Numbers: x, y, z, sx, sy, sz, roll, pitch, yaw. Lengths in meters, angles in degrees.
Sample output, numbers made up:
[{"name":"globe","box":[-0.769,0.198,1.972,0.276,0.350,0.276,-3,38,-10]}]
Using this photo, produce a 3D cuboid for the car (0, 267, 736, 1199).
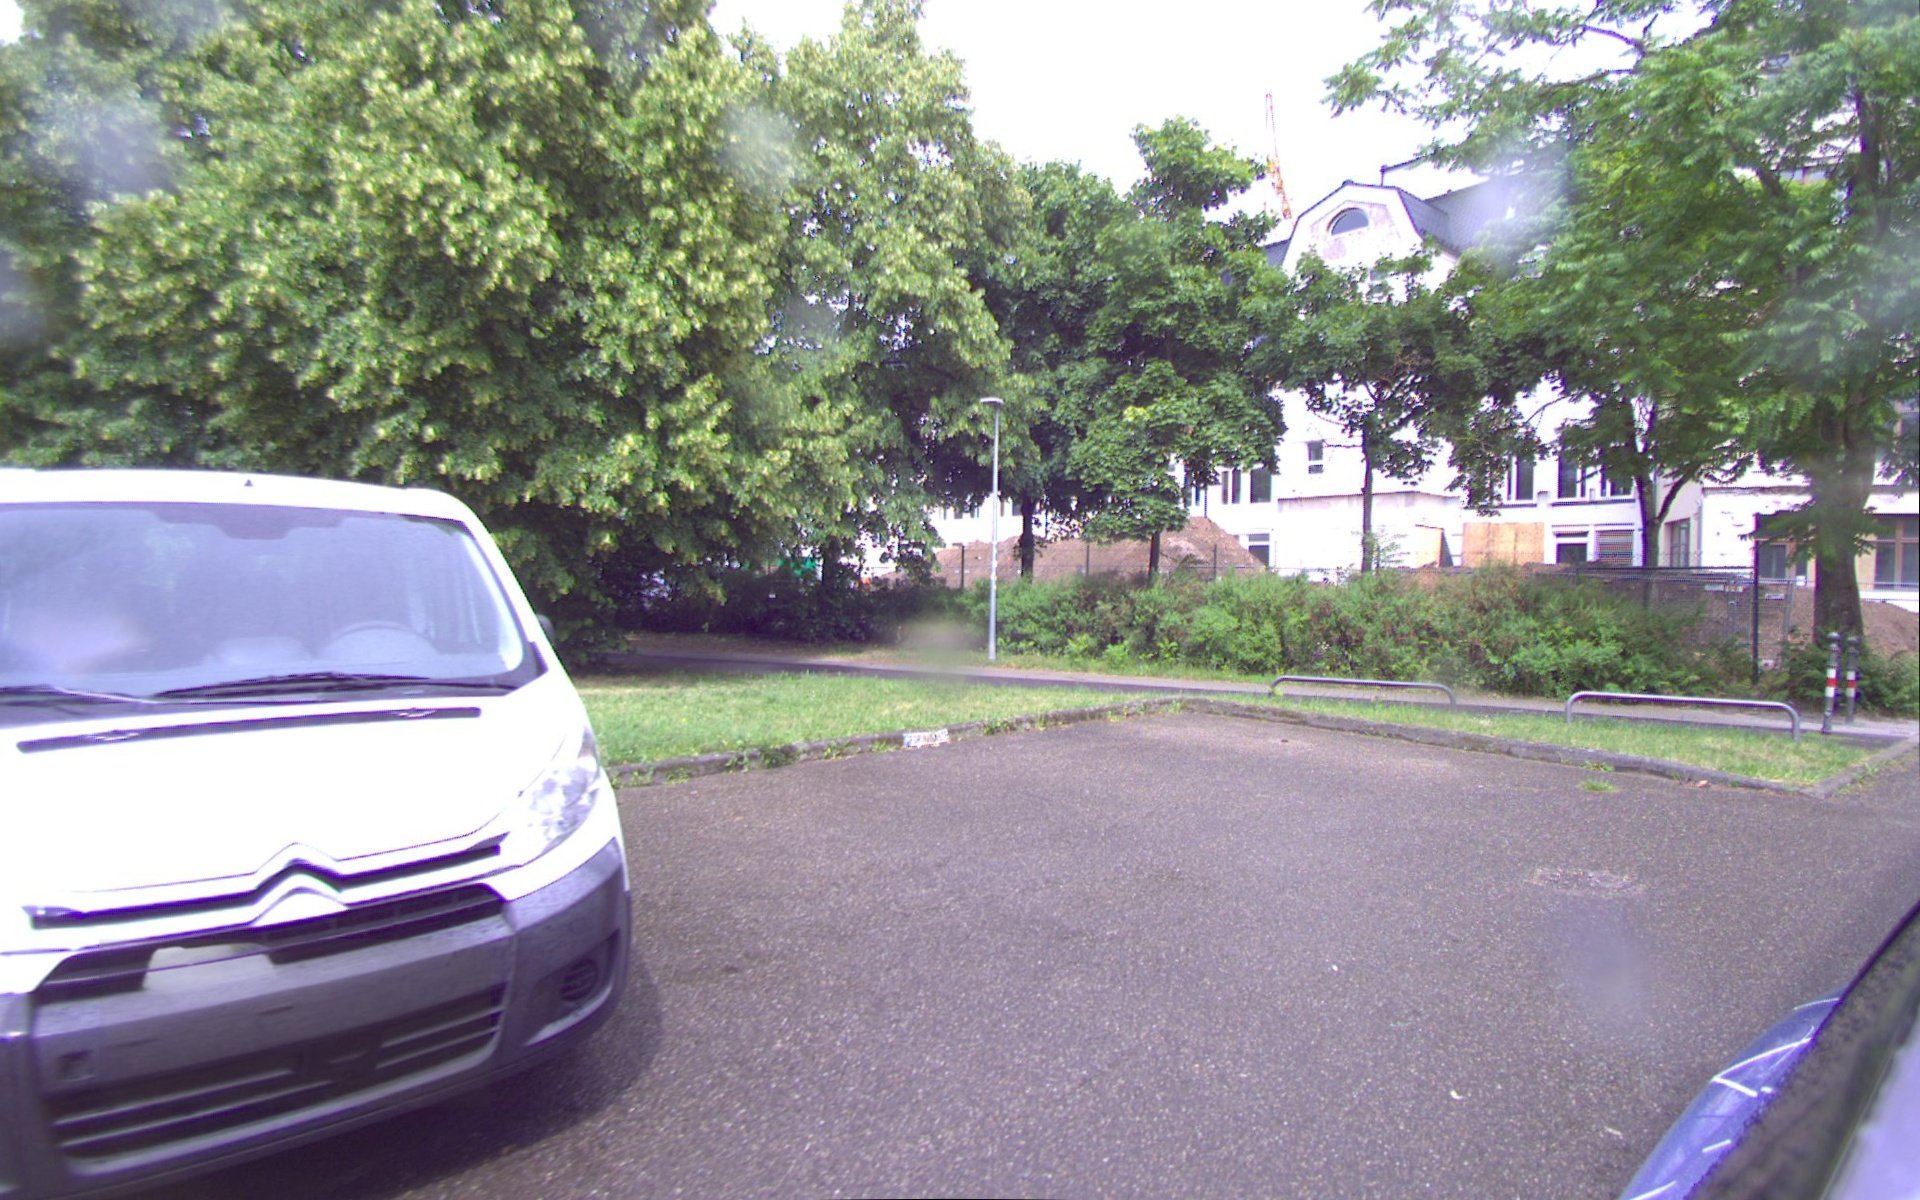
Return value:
[{"name":"car","box":[-2.854,0.373,4.030,1.963,2.039,4.952,1,1,-37]}]
